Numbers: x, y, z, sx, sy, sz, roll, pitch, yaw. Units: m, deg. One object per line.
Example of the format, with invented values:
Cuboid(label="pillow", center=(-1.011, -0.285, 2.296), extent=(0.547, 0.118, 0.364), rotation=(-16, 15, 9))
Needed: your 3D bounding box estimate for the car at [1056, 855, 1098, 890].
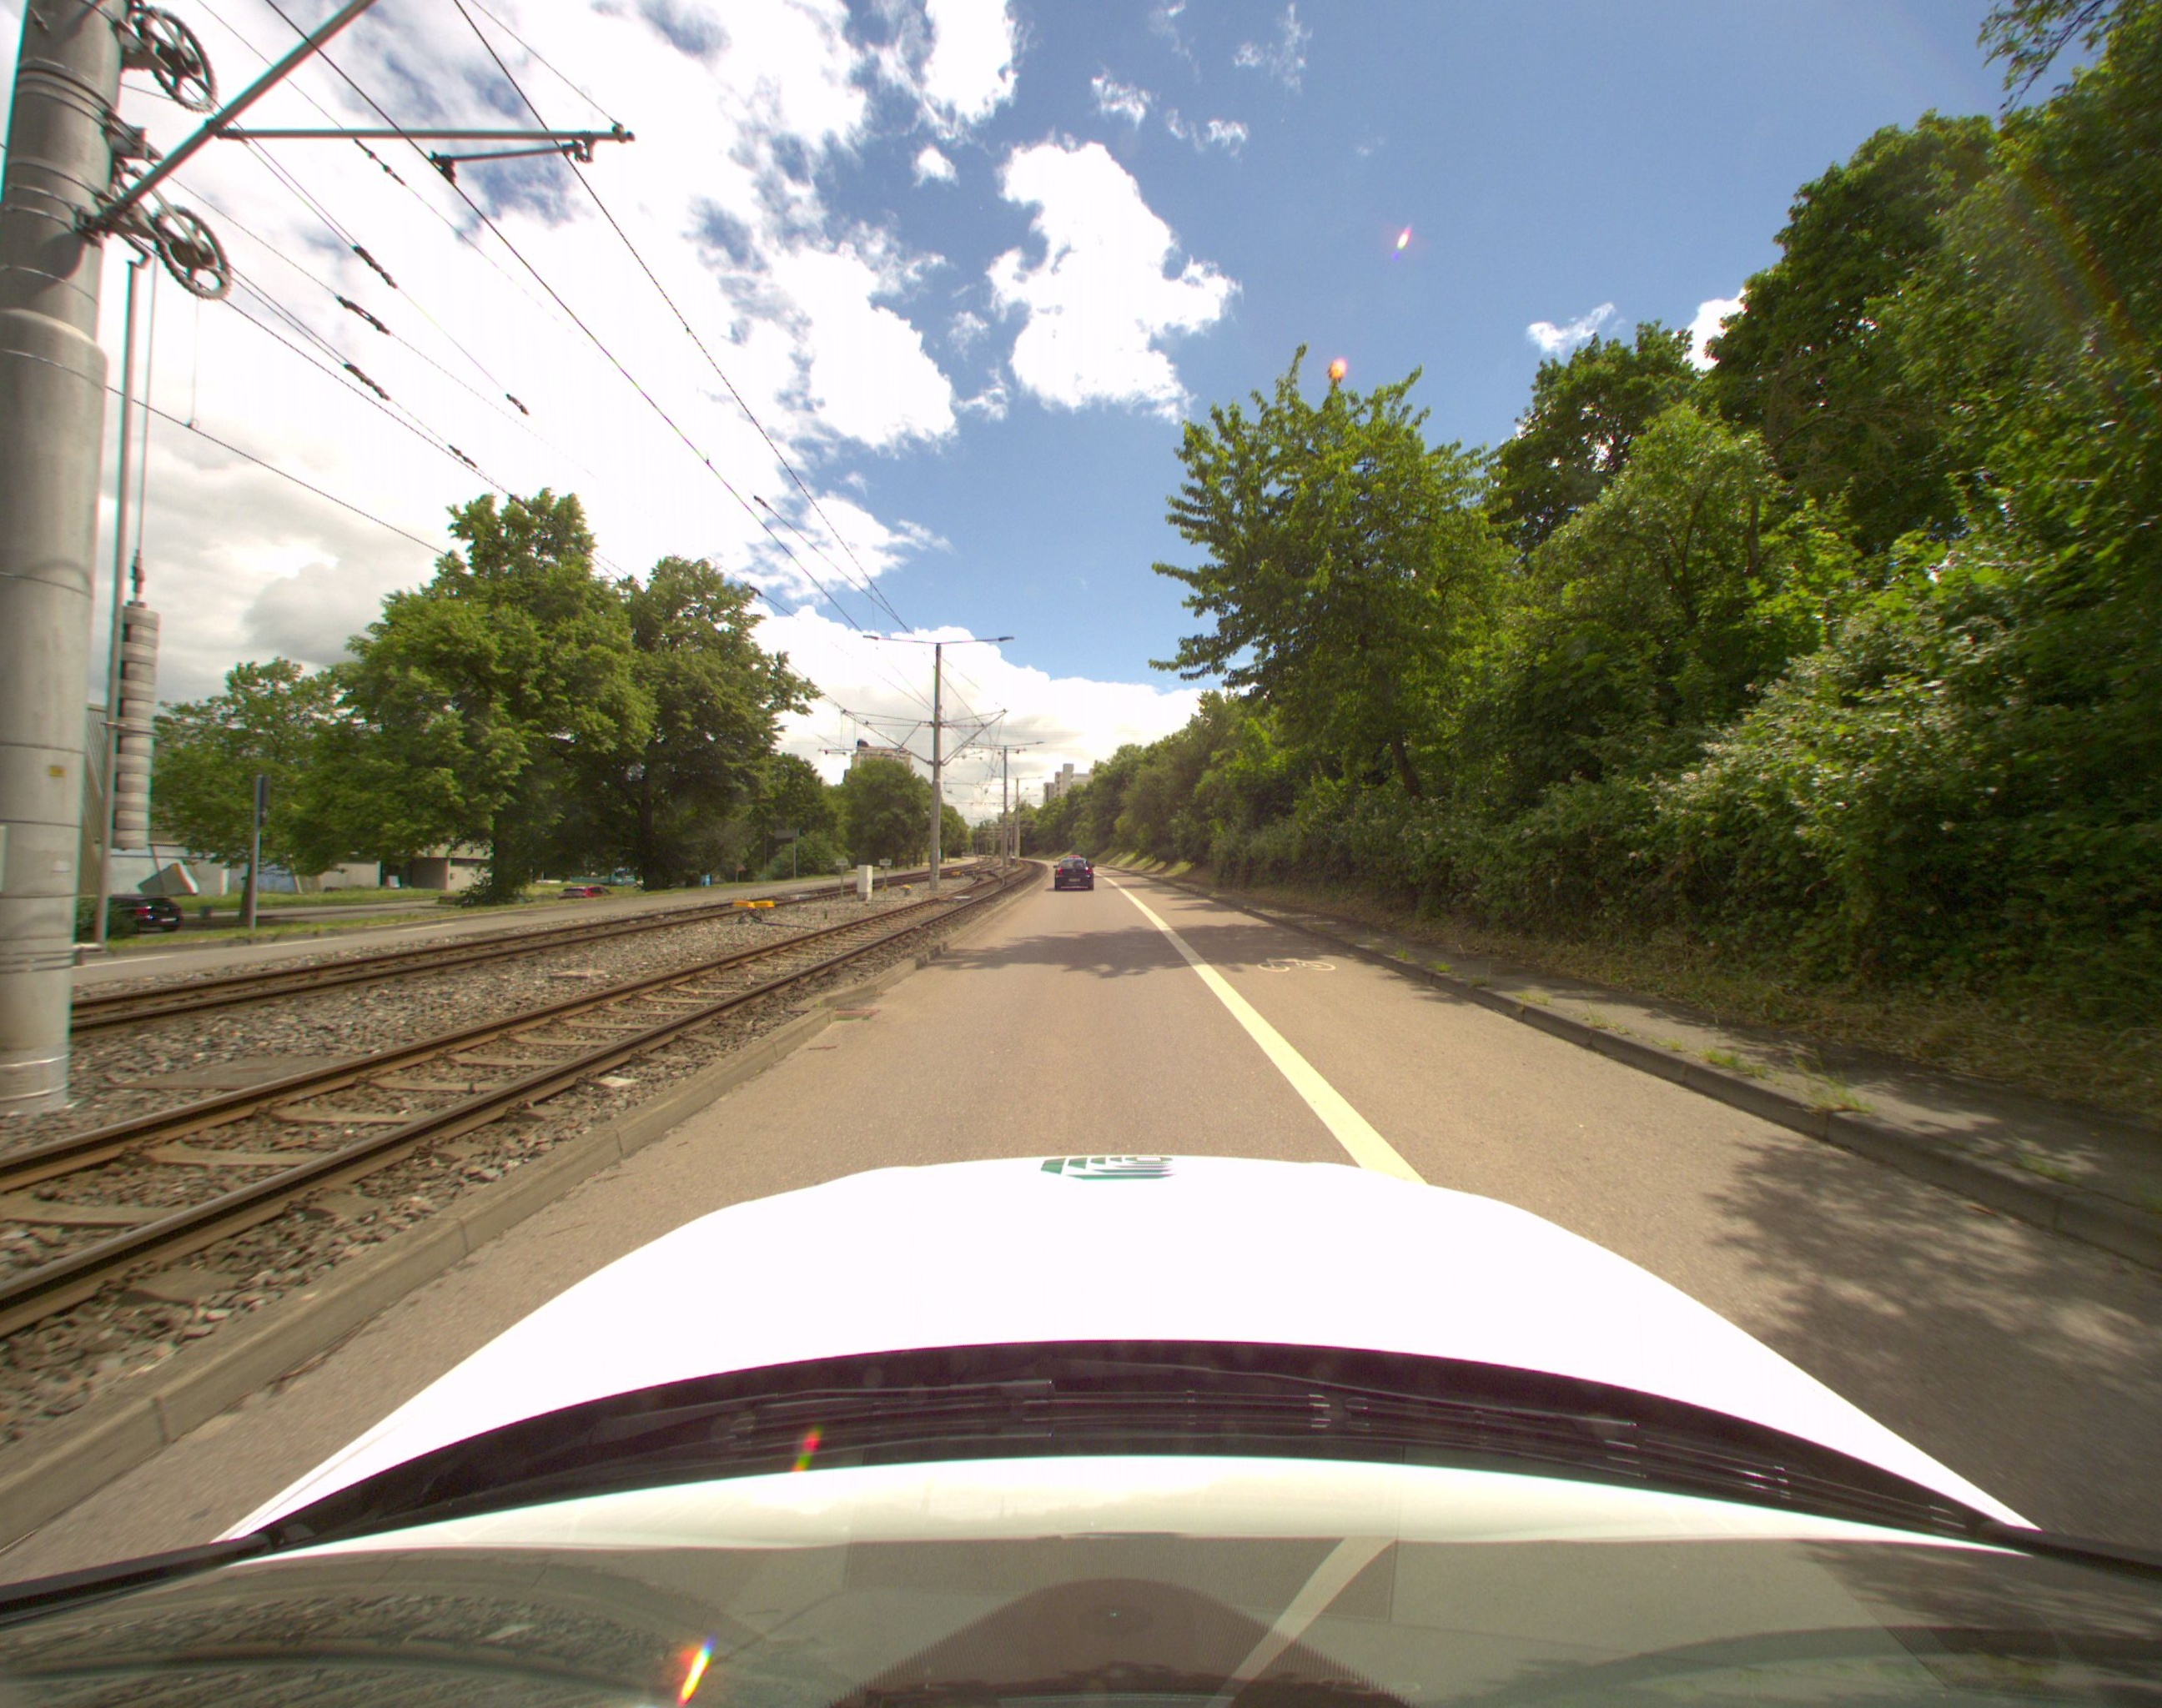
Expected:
Cuboid(label="car", center=(-0.128, 0.807, 36.488), extent=(1.702, 1.460, 3.961), rotation=(2, -1, 1))

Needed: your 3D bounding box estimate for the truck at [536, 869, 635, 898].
Cuboid(label="truck", center=(-54.655, 3.232, 89.945), extent=(9.064, 2.695, 2.614), rotation=(-2, 0, -2))

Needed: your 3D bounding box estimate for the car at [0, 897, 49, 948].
Cuboid(label="car", center=(-37.942, 2.295, 27.605), extent=(3.964, 1.599, 1.863), rotation=(1, -1, 8))

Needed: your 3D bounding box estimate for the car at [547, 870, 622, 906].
Cuboid(label="car", center=(-27.933, 1.886, 45.976), extent=(1.811, 1.772, 3.997), rotation=(-1, 0, -2))

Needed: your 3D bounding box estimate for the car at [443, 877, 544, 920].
Cuboid(label="car", center=(-27.807, 2.049, 38.714), extent=(1.809, 1.772, 4.002), rotation=(-1, 0, 2))

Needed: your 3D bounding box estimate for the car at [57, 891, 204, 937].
Cuboid(label="car", center=(-37.755, 2.338, 32.404), extent=(3.965, 1.599, 1.862), rotation=(1, -1, 7))

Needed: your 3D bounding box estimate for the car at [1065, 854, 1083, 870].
Cuboid(label="car", center=(-0.671, 0.780, 78.919), extent=(1.620, 1.443, 3.419), rotation=(1, 0, -2))
